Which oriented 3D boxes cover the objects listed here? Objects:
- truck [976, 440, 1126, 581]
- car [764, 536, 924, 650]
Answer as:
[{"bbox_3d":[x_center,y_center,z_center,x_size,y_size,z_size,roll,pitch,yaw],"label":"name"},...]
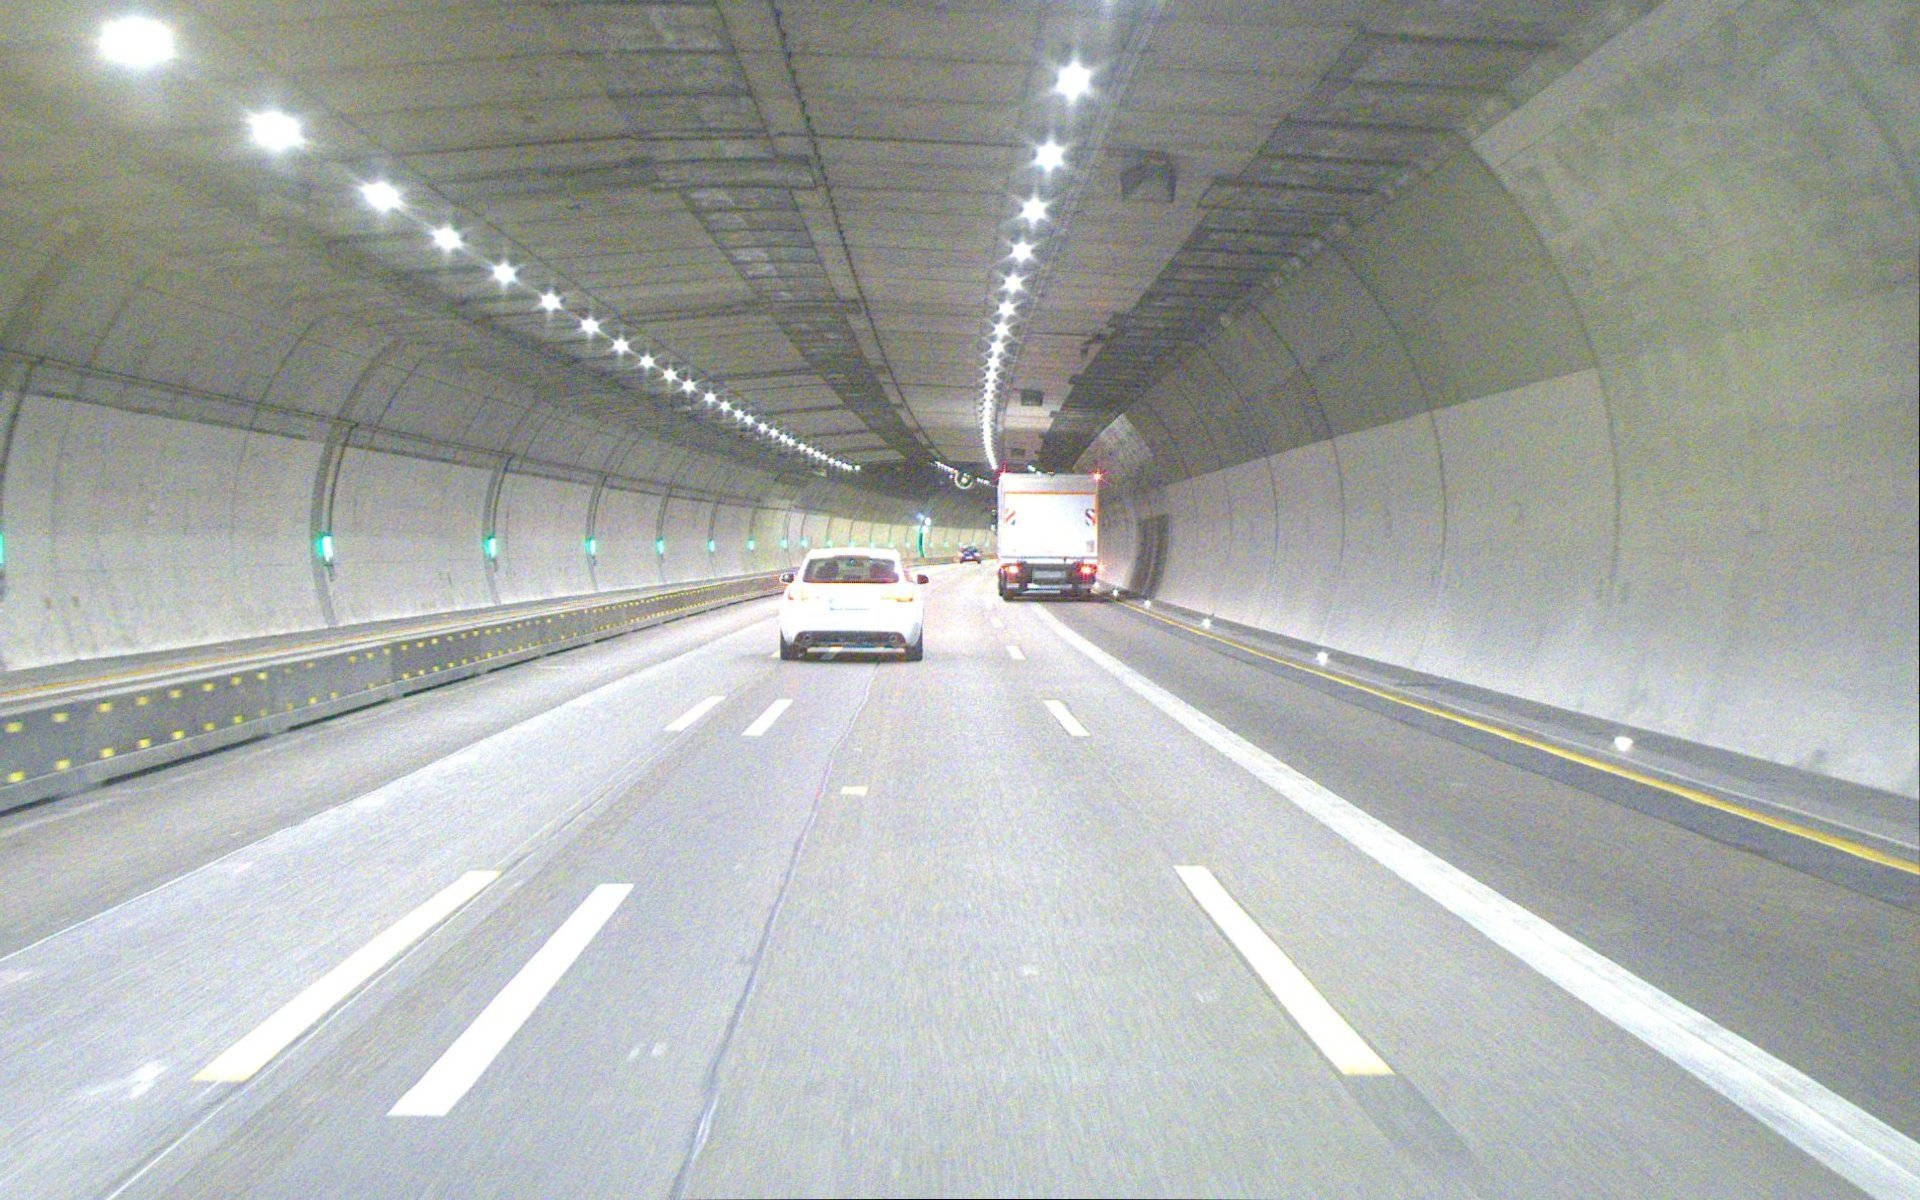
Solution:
[{"bbox_3d":[2.403,-2.439,95.169,3.592,3.638,10.723,1,1,-1],"label":"truck"},{"bbox_3d":[-1.513,-0.131,45.581,1.993,1.408,4.743,1,1,-1],"label":"car"}]
